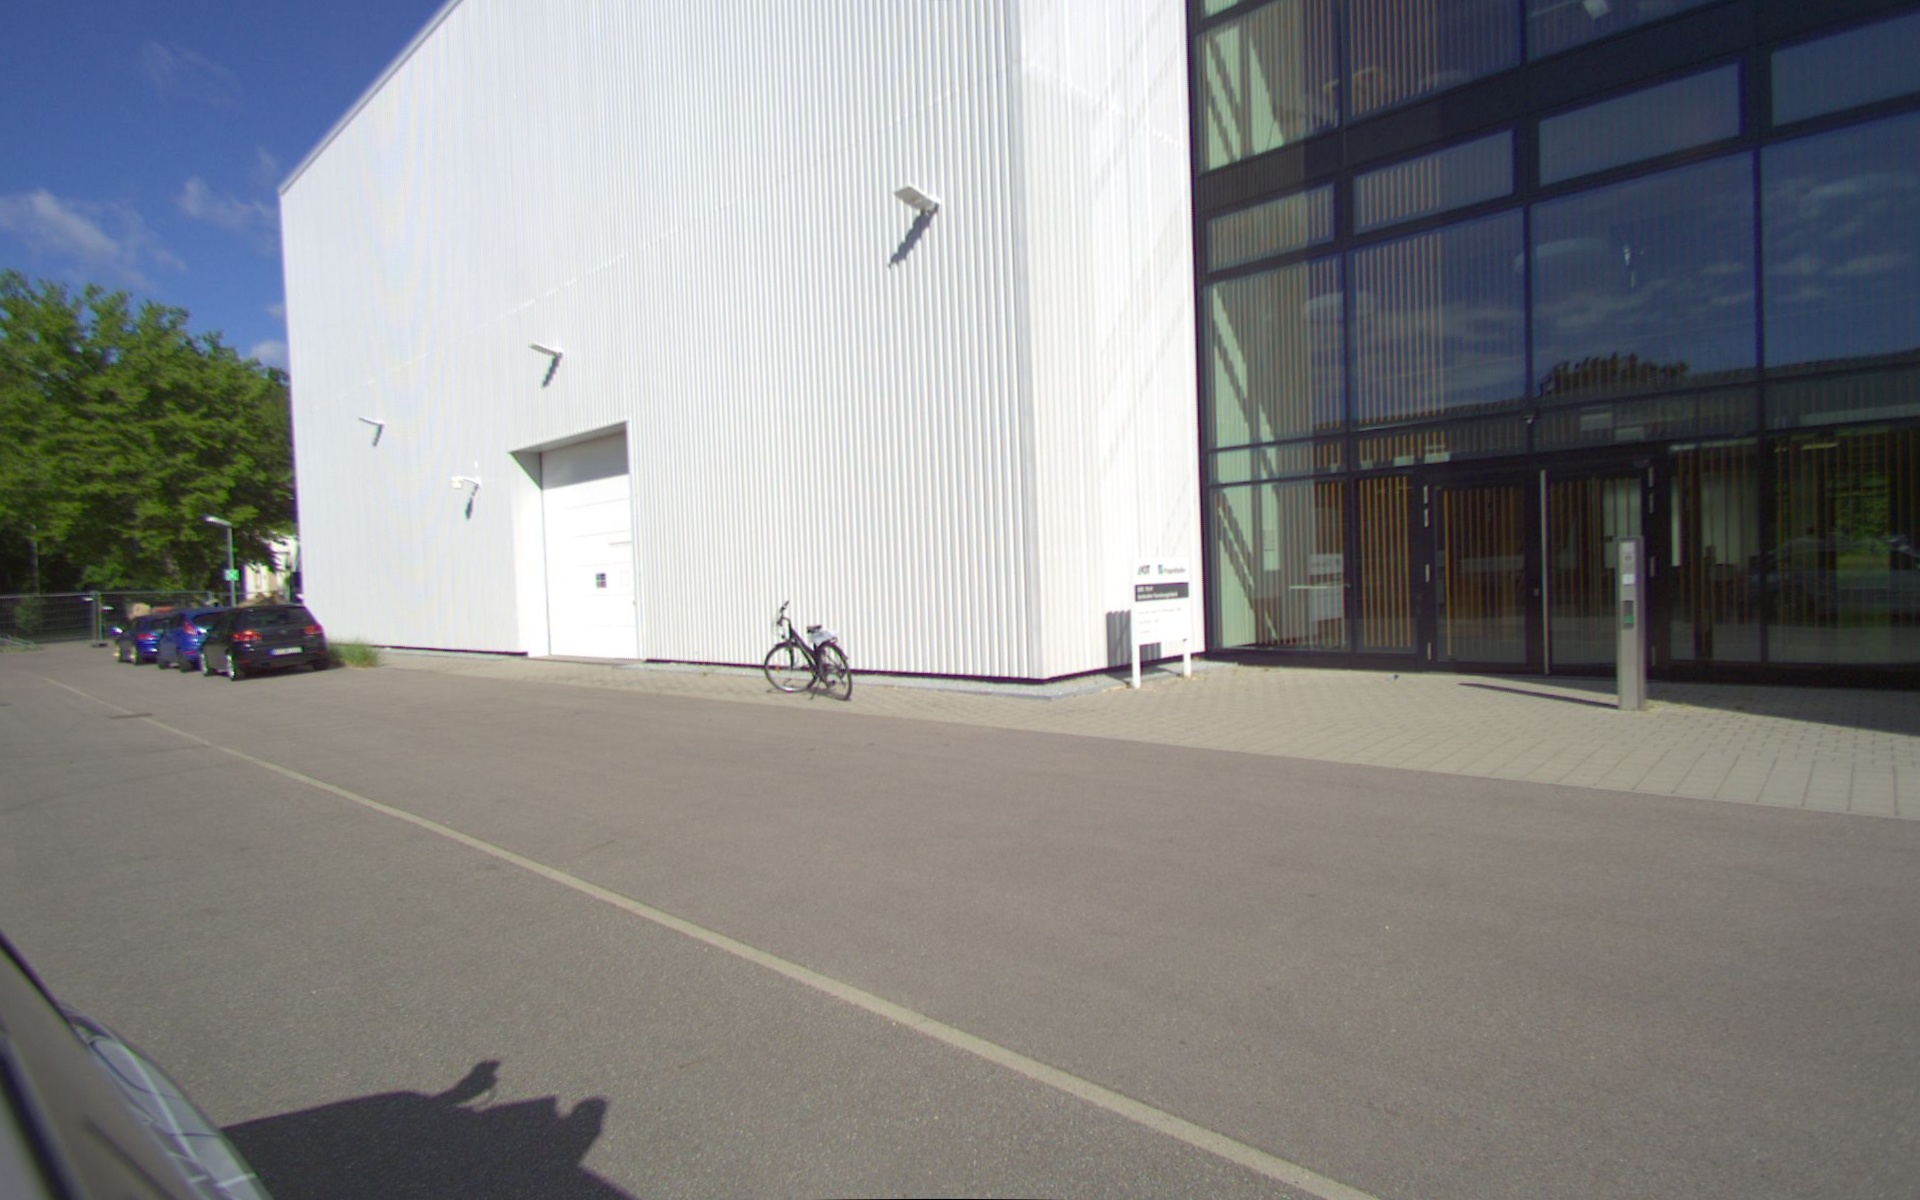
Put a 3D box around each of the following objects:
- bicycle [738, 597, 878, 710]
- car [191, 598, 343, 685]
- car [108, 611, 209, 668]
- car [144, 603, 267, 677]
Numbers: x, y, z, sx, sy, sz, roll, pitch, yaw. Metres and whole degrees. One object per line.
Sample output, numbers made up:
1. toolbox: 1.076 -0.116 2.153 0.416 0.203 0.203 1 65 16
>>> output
1. bicycle: -1.863 0.588 12.165 0.895 1.151 1.905 -6 4 -32
2. car: -14.830 0.826 21.579 4.002 1.533 1.870 -1 4 45
3. car: -22.819 1.082 28.771 4.002 1.451 1.765 -1 0 45
4. car: -18.742 0.943 25.080 4.002 1.533 1.766 -1 4 45
